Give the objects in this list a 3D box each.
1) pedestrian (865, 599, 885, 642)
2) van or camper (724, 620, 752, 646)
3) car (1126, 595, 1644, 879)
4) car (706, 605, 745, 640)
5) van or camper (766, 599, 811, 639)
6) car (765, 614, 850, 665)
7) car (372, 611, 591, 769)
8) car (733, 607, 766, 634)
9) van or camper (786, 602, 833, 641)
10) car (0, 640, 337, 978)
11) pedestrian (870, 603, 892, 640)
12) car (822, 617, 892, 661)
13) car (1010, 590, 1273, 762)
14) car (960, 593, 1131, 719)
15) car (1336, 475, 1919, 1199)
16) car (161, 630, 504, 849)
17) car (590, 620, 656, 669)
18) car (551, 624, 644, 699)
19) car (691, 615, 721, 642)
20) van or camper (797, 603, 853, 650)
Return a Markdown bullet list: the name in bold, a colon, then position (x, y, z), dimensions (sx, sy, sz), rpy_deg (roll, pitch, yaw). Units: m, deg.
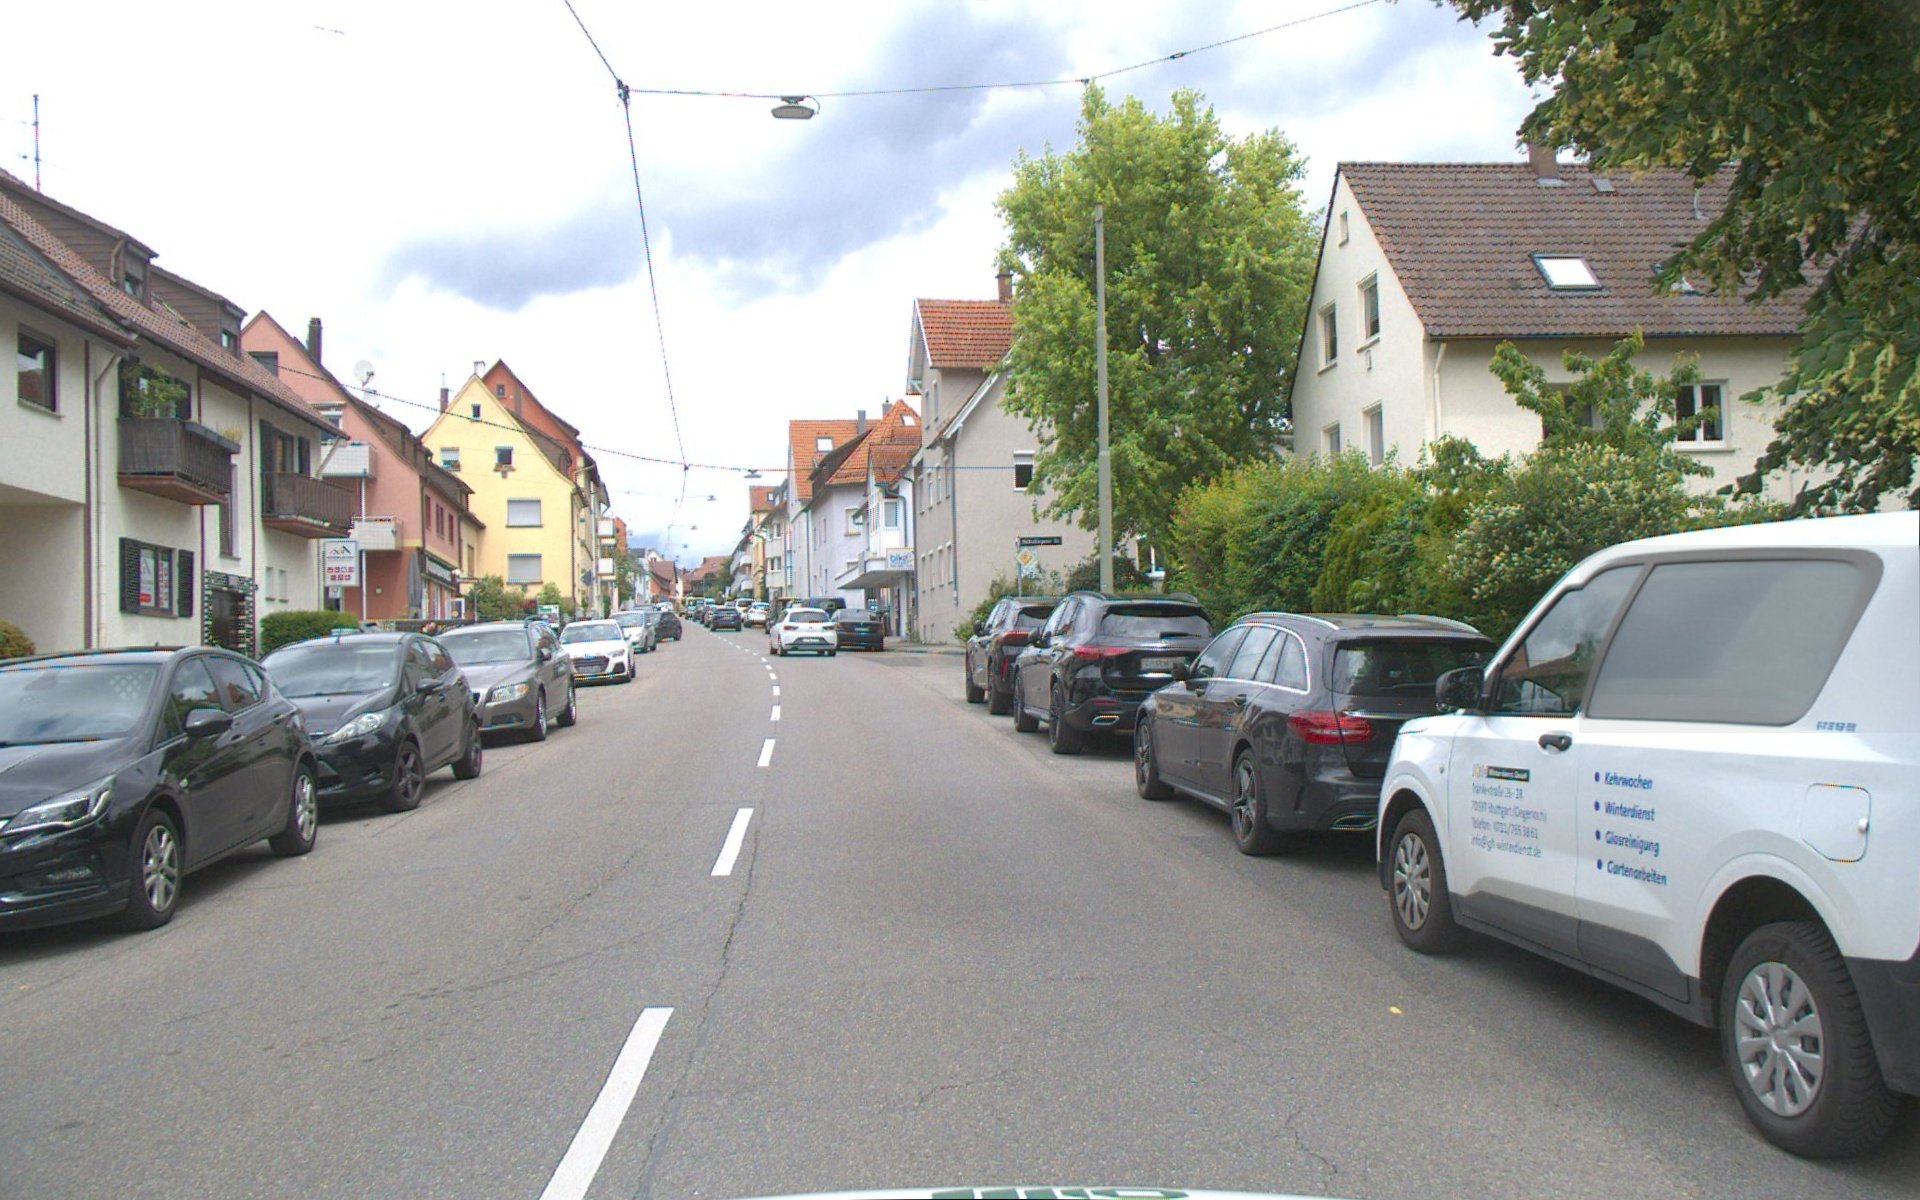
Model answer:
- **pedestrian**: position (-4.174, 1.003, 81.158), dimensions (0.744, 2.049, 0.619), rpy_deg (-1, -1, 24)
- **van or camper**: position (-18.018, 2.663, 134.252), dimensions (1.907, 2.091, 4.548), rpy_deg (0, 0, -13)
- **car**: position (2.605, 0.786, 11.465), dimensions (1.955, 1.504, 4.613), rpy_deg (-1, -1, -6)
- **car**: position (-14.065, 1.366, 99.122), dimensions (2.114, 2.049, 3.988), rpy_deg (0, -1, -11)
- **van or camper**: position (-9.479, 1.045, 90.973), dimensions (1.957, 2.102, 5.929), rpy_deg (1, -1, -10)
- **car**: position (-4.723, 1.187, 50.699), dimensions (1.909, 1.464, 3.983), rpy_deg (0, 0, -16)
- **car**: position (-6.127, 1.064, 21.744), dimensions (1.811, 1.709, 4.781), rpy_deg (-4, 0, -6)
- **car**: position (-14.304, 1.376, 112.368), dimensions (1.906, 1.723, 3.988), rpy_deg (1, 0, -12)
- **van or camper**: position (-7.618, 1.068, 83.430), dimensions (1.838, 1.861, 4.667), rpy_deg (1, -1, -11)
- **car**: position (-5.069, 1.046, 9.552), dimensions (1.729, 1.463, 4.072), rpy_deg (-3, 0, -7)
- **pedestrian**: position (-3.807, 1.023, 79.510), dimensions (0.853, 1.755, 0.619), rpy_deg (-1, -1, 24)
- **car**: position (-3.811, 1.388, 60.400), dimensions (1.958, 1.544, 4.878), rpy_deg (0, -1, -11)
- **car**: position (1.820, 0.765, 18.157), dimensions (1.955, 1.644, 4.533), rpy_deg (0, -1, -6)
- **car**: position (1.131, 0.772, 23.894), dimensions (1.776, 1.644, 4.533), rpy_deg (0, -1, -6)
- **car**: position (3.017, 0.609, 6.060), dimensions (1.803, 1.805, 4.310), rpy_deg (1, 0, -8)
- **car**: position (-5.349, 1.095, 14.684), dimensions (1.729, 1.463, 4.073), rpy_deg (-5, 0, -6)
- **car**: position (-12.697, 1.641, 62.581), dimensions (1.798, 1.605, 4.028), rpy_deg (-4, 0, -4)
- **car**: position (-8.253, 1.361, 37.918), dimensions (1.694, 1.483, 3.891), rpy_deg (-5, 0, -8)
- **car**: position (-19.909, 2.223, 129.519), dimensions (2.114, 2.049, 3.988), rpy_deg (0, -1, -11)
- **van or camper**: position (-5.883, 1.110, 71.776), dimensions (1.892, 1.959, 4.817), rpy_deg (0, 0, -11)
